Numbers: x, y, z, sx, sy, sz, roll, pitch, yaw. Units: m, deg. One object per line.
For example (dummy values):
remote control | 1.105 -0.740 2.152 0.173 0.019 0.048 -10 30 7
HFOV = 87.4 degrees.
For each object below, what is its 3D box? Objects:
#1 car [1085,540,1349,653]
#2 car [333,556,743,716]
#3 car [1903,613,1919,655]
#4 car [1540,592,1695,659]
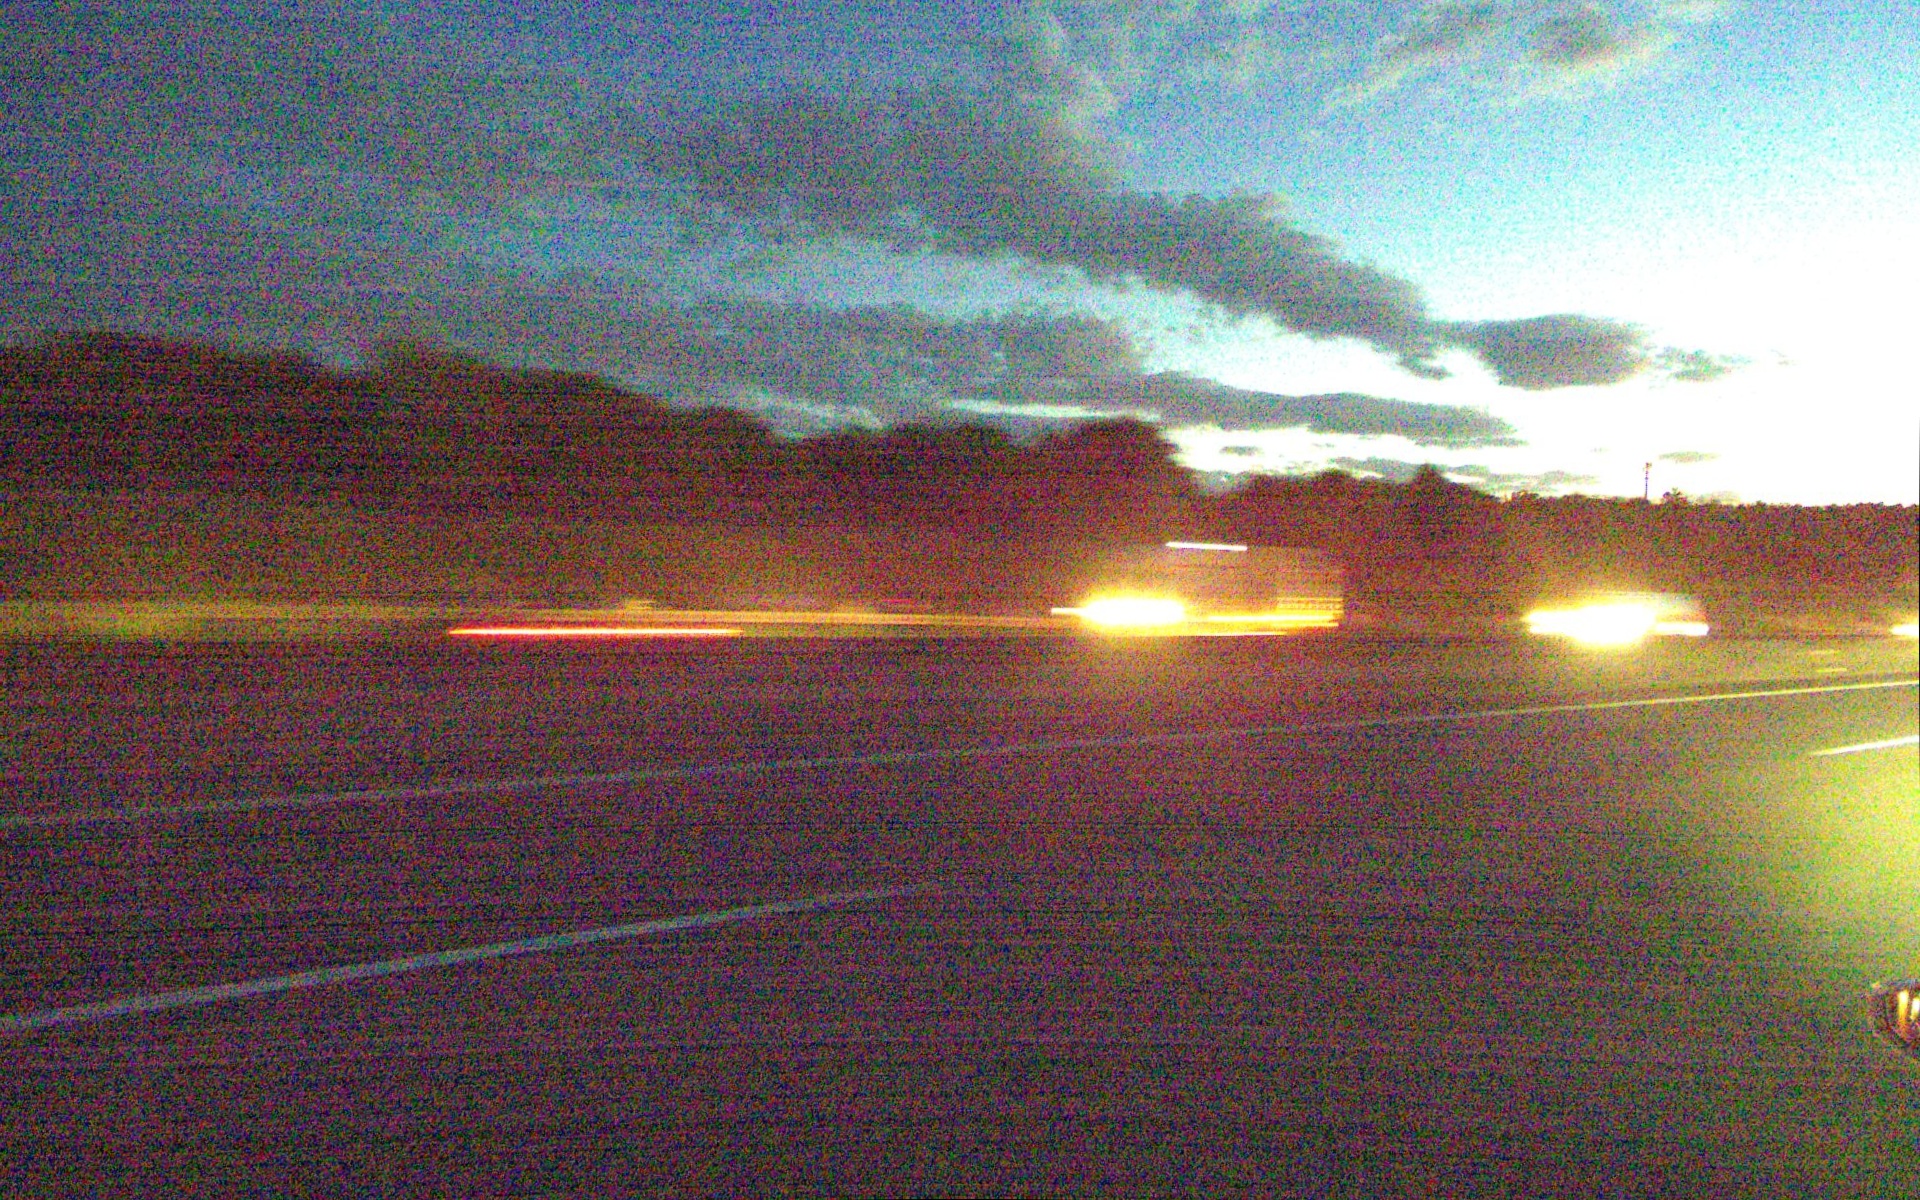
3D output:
car | 7.735 -0.028 29.727 8.236 2.975 2.446 1 0 -31
car | -5.370 0.426 13.076 4.604 1.757 1.984 1 0 -30
car | 42.568 1.498 42.998 4.605 1.757 1.984 1 0 -31
car | 20.729 0.782 31.599 5.367 1.910 2.132 1 0 -34
